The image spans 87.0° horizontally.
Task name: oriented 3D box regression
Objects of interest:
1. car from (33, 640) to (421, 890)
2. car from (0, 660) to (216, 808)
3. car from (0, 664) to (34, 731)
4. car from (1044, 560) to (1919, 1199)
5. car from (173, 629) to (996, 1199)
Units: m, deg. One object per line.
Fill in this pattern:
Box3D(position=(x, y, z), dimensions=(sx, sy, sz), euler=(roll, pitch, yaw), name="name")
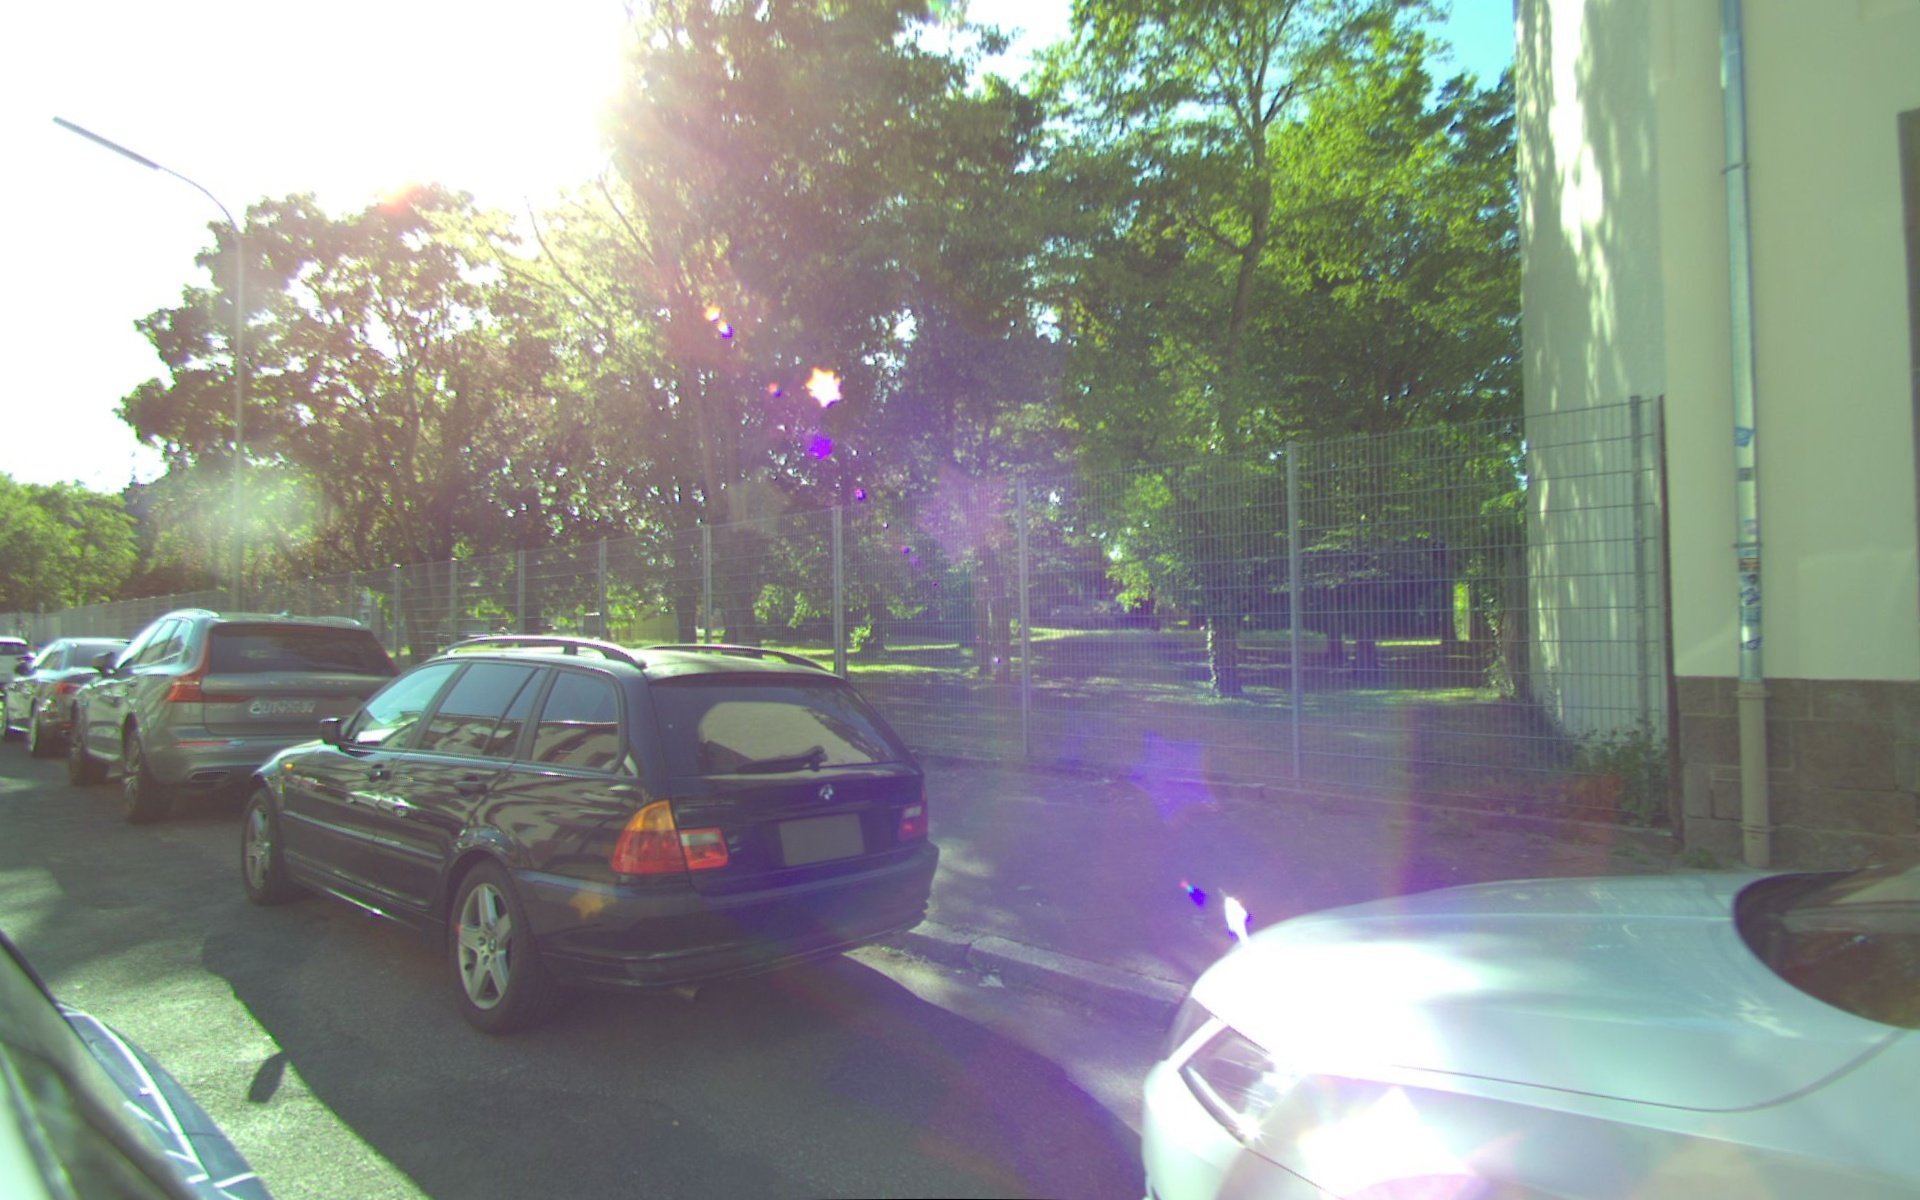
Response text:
Box3D(position=(-6.882, 1.234, 9.259), dimensions=(4.931, 1.676, 1.858), euler=(-2, -4, 42), name="car")
Box3D(position=(-11.356, 1.579, 13.090), dimensions=(4.498, 1.482, 1.776), euler=(-2, -2, 40), name="car")
Box3D(position=(-23.842, 2.333, 24.402), dimensions=(4.117, 1.456, 1.775), euler=(-2, -2, 41), name="car")
Box3D(position=(2.478, 0.751, 0.842), dimensions=(4.636, 1.553, 1.774), euler=(-3, -6, 39), name="car")
Box3D(position=(-2.130, 1.003, 4.913), dimensions=(4.458, 1.574, 1.773), euler=(-1, -7, 42), name="car")
